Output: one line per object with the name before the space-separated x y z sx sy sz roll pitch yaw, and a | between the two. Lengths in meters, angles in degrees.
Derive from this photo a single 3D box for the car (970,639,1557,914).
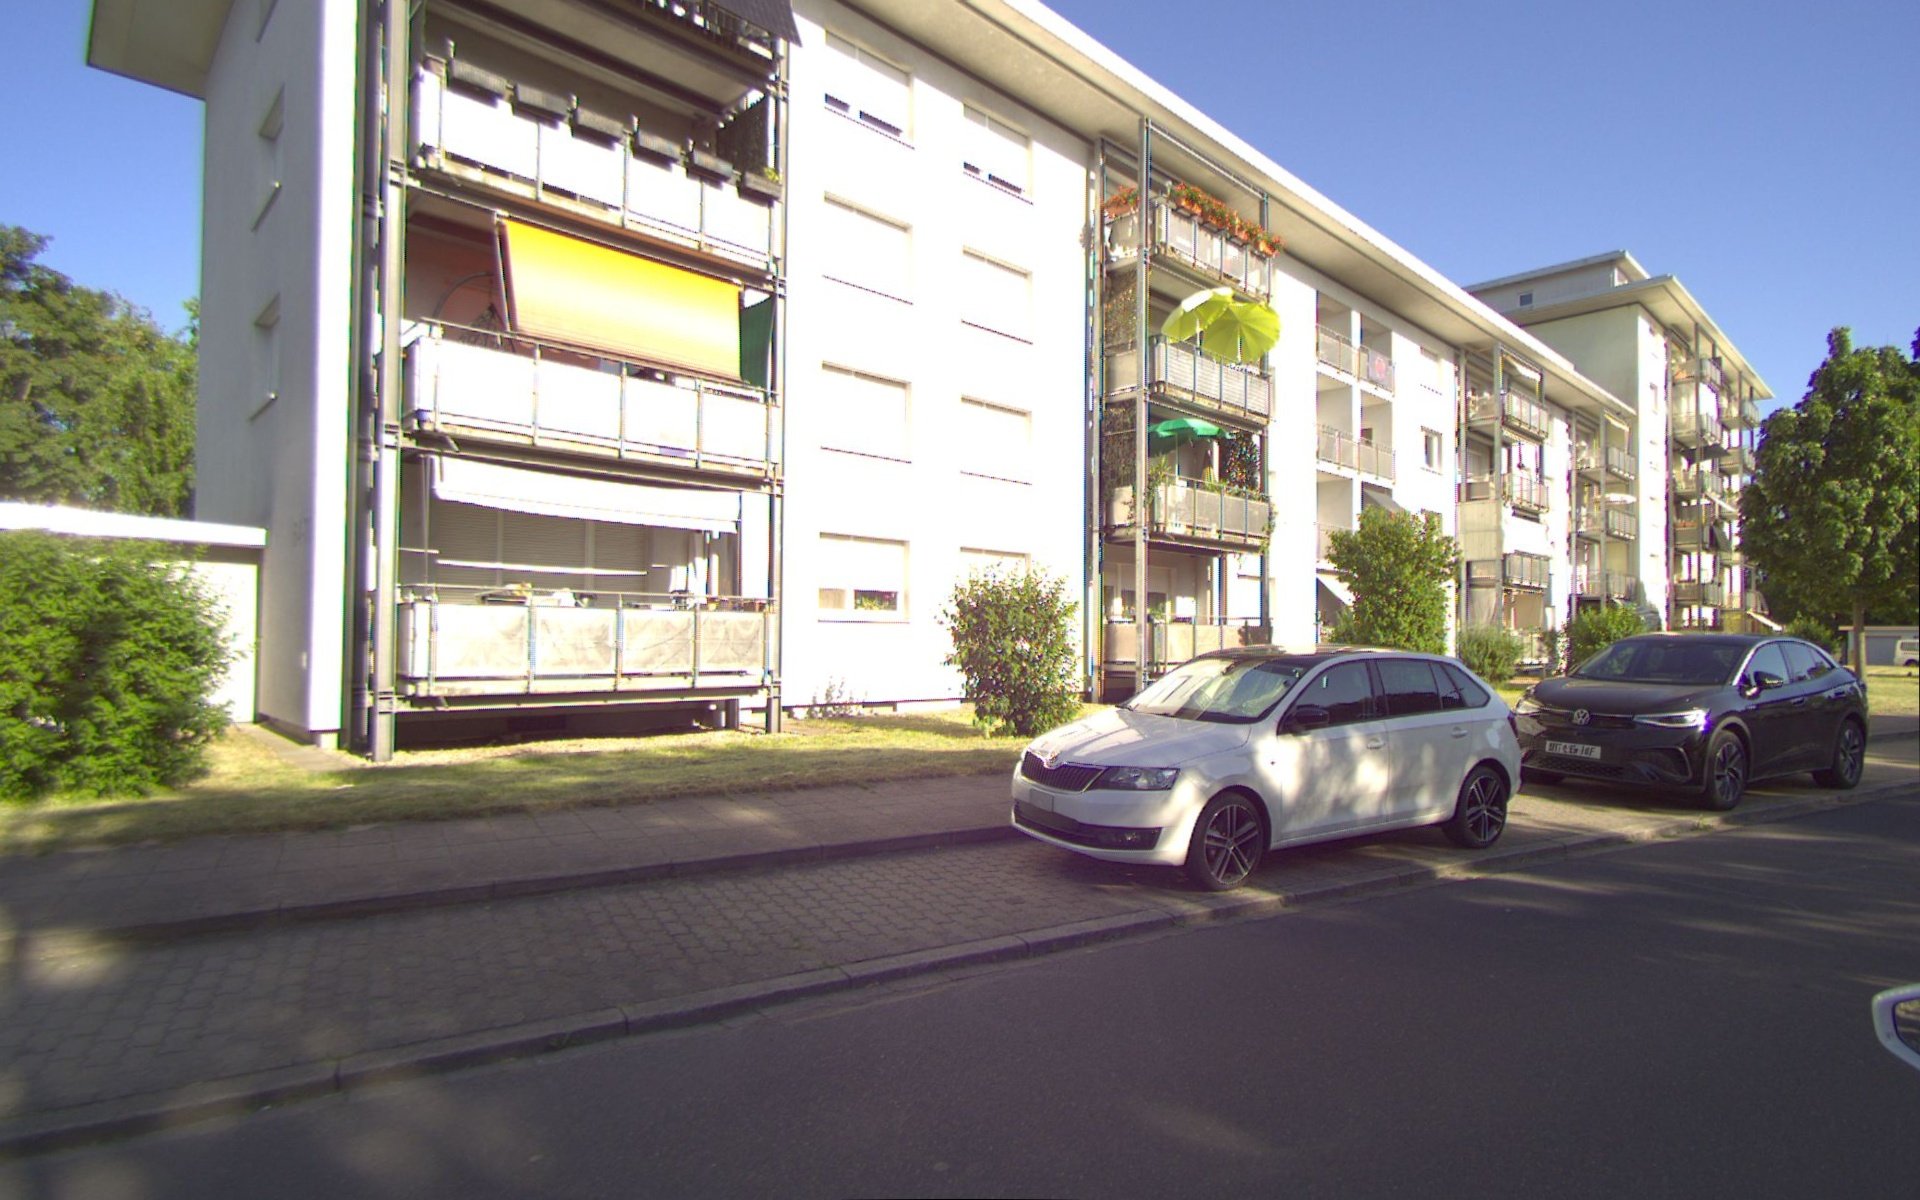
car | 2.325 1.051 7.332 4.279 1.486 1.639 2 -2 -30

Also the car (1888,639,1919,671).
car | 60.358 3.381 61.278 2.202 1.976 5.102 1 -3 -19

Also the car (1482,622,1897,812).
car | 7.842 1.109 10.677 4.758 1.625 1.904 2 -3 -32
